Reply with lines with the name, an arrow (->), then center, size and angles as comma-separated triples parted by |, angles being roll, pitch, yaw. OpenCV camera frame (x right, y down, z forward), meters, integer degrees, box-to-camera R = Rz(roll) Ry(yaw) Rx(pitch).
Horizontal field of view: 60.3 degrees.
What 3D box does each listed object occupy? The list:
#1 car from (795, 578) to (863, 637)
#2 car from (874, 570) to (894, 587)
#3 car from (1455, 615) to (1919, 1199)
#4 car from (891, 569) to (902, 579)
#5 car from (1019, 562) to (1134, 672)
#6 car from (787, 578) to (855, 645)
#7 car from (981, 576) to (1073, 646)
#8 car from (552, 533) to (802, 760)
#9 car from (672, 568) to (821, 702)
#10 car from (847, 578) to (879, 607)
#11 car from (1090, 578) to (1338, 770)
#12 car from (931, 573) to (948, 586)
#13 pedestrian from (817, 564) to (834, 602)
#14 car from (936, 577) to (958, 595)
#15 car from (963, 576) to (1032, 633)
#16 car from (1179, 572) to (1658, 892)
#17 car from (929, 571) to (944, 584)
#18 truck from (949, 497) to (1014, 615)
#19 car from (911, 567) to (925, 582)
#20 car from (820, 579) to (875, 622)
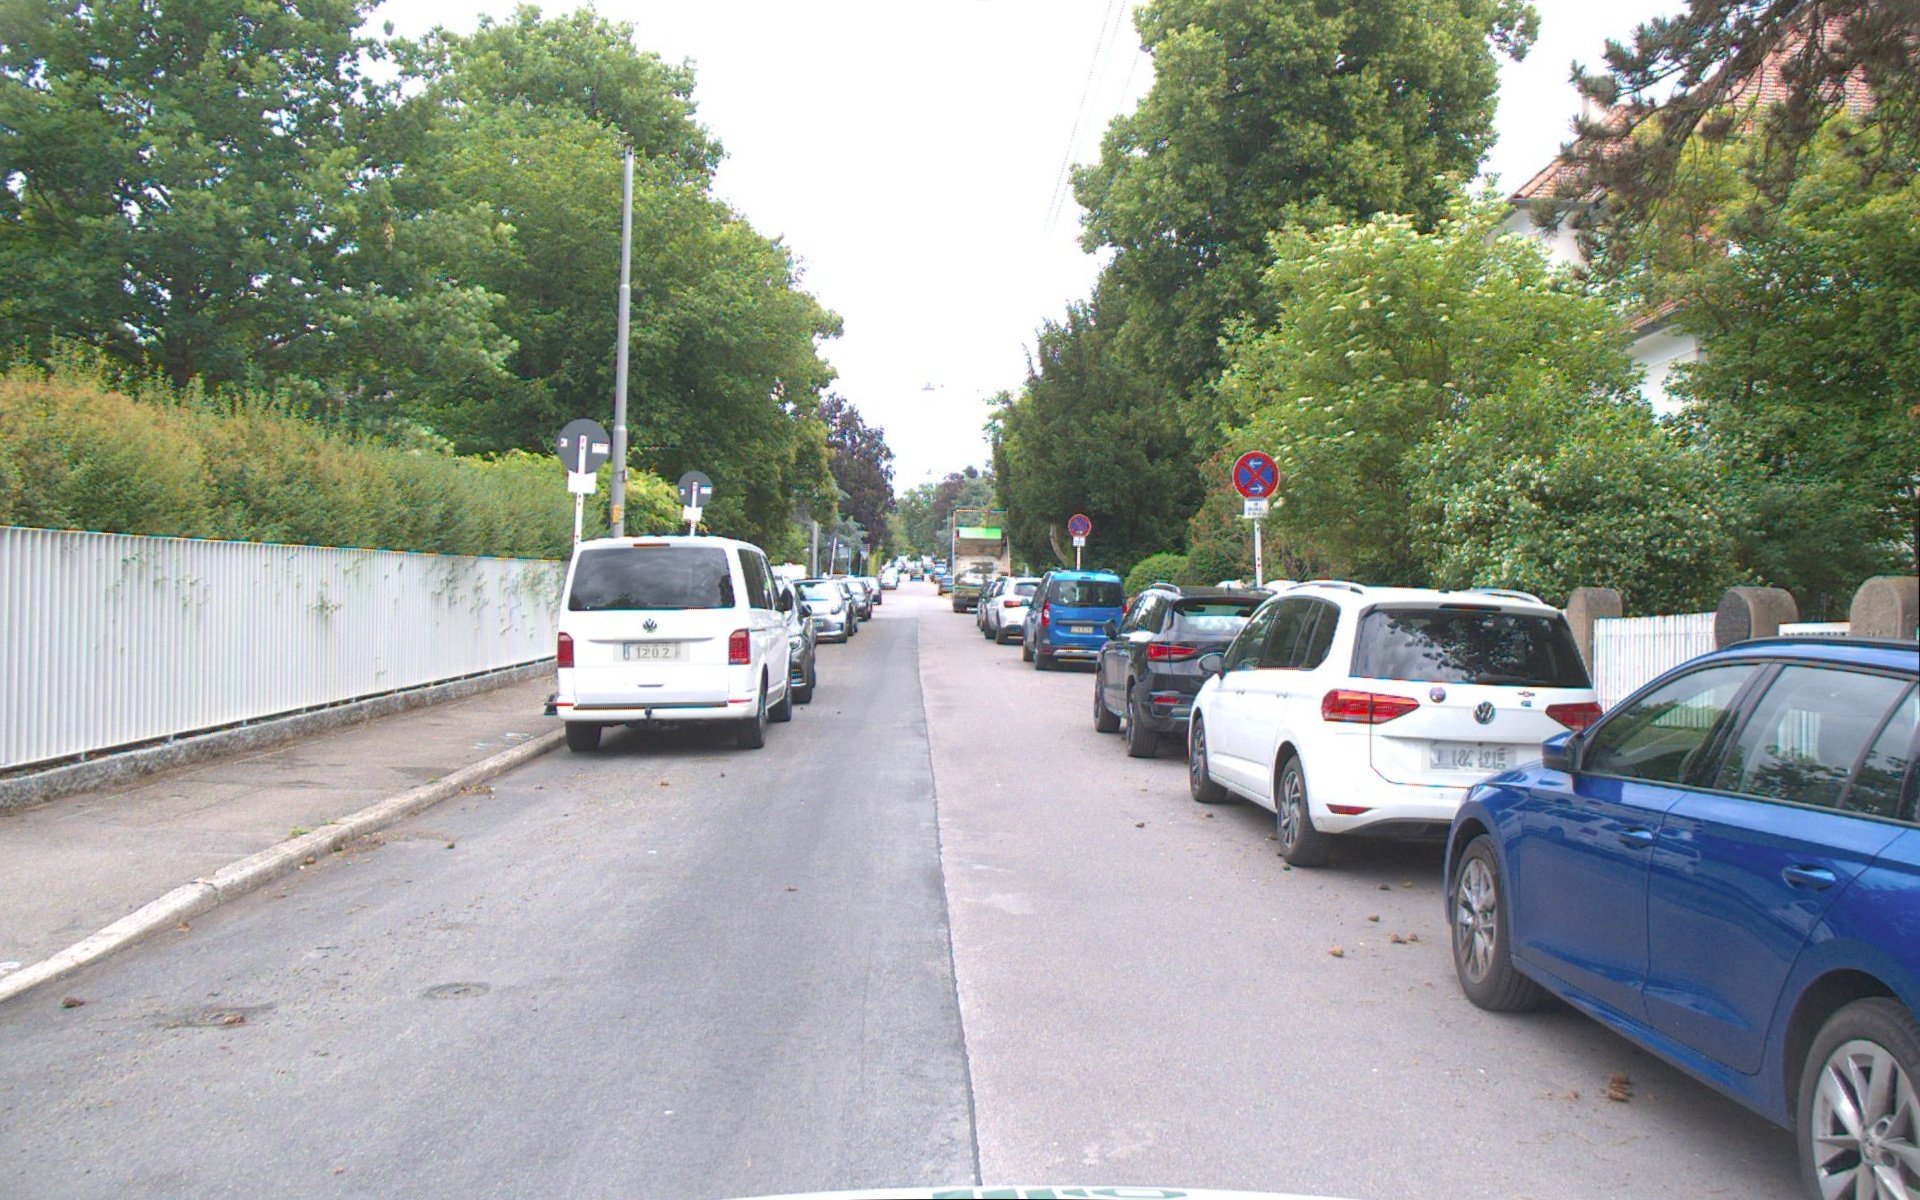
car -> -3.605, 0.178, 46.007 | 1.621, 1.507, 3.887 | -2, 1, -1
car -> -7.409, -2.074, 162.071 | 1.676, 1.613, 4.001 | 1, 1, 1
car -> 2.883, 0.829, 4.700 | 1.614, 1.484, 4.050 | 2, 0, -1
car -> -9.690, -3.904, 250.480 | 1.594, 1.410, 3.597 | 3, 1, -2
car -> 2.146, 0.263, 31.367 | 1.649, 1.861, 4.155 | 3, 1, -2
car -> -3.477, 0.260, 41.335 | 1.590, 1.560, 2.960 | -1, 1, -5
car -> 1.645, 0.234, 42.254 | 1.723, 1.634, 4.570 | 2, 1, -5
car -> -2.708, 0.401, 16.881 | 1.817, 1.947, 4.618 | -1, 0, -1
car -> -2.841, 0.403, 22.770 | 1.755, 1.651, 4.340 | 0, 1, -4
car -> -5.041, -0.405, 86.130 | 1.604, 1.419, 3.987 | -1, 1, -3
car -> 2.446, 0.662, 16.880 | 1.715, 1.636, 4.074 | 3, 0, -2
car -> -2.290, -2.319, 186.080 | 1.774, 1.358, 3.631 | 2, 2, -3
pedestrian -> -7.507, -0.959, 92.218 | 0.836, 2.048, 0.700 | 3, 0, -7
car -> -1.143, -1.218, 142.439 | 1.743, 1.515, 3.998 | 1, 1, -3
car -> 1.064, 0.091, 48.783 | 1.664, 1.598, 4.306 | 0, 1, -3
car -> 2.750, 0.692, 11.012 | 1.749, 1.631, 4.302 | 3, 0, -3
car -> -2.733, -2.660, 194.986 | 1.753, 1.556, 3.734 | 1, 1, 0
truck -> 0.883, -1.893, 72.749 | 2.473, 4.831, 7.186 | 2, 1, -1
car -> -5.009, -3.067, 197.855 | 1.601, 1.731, 3.493 | 1, 1, -2
car -> -3.991, -0.012, 59.236 | 1.607, 1.447, 4.550 | -1, 1, 0
